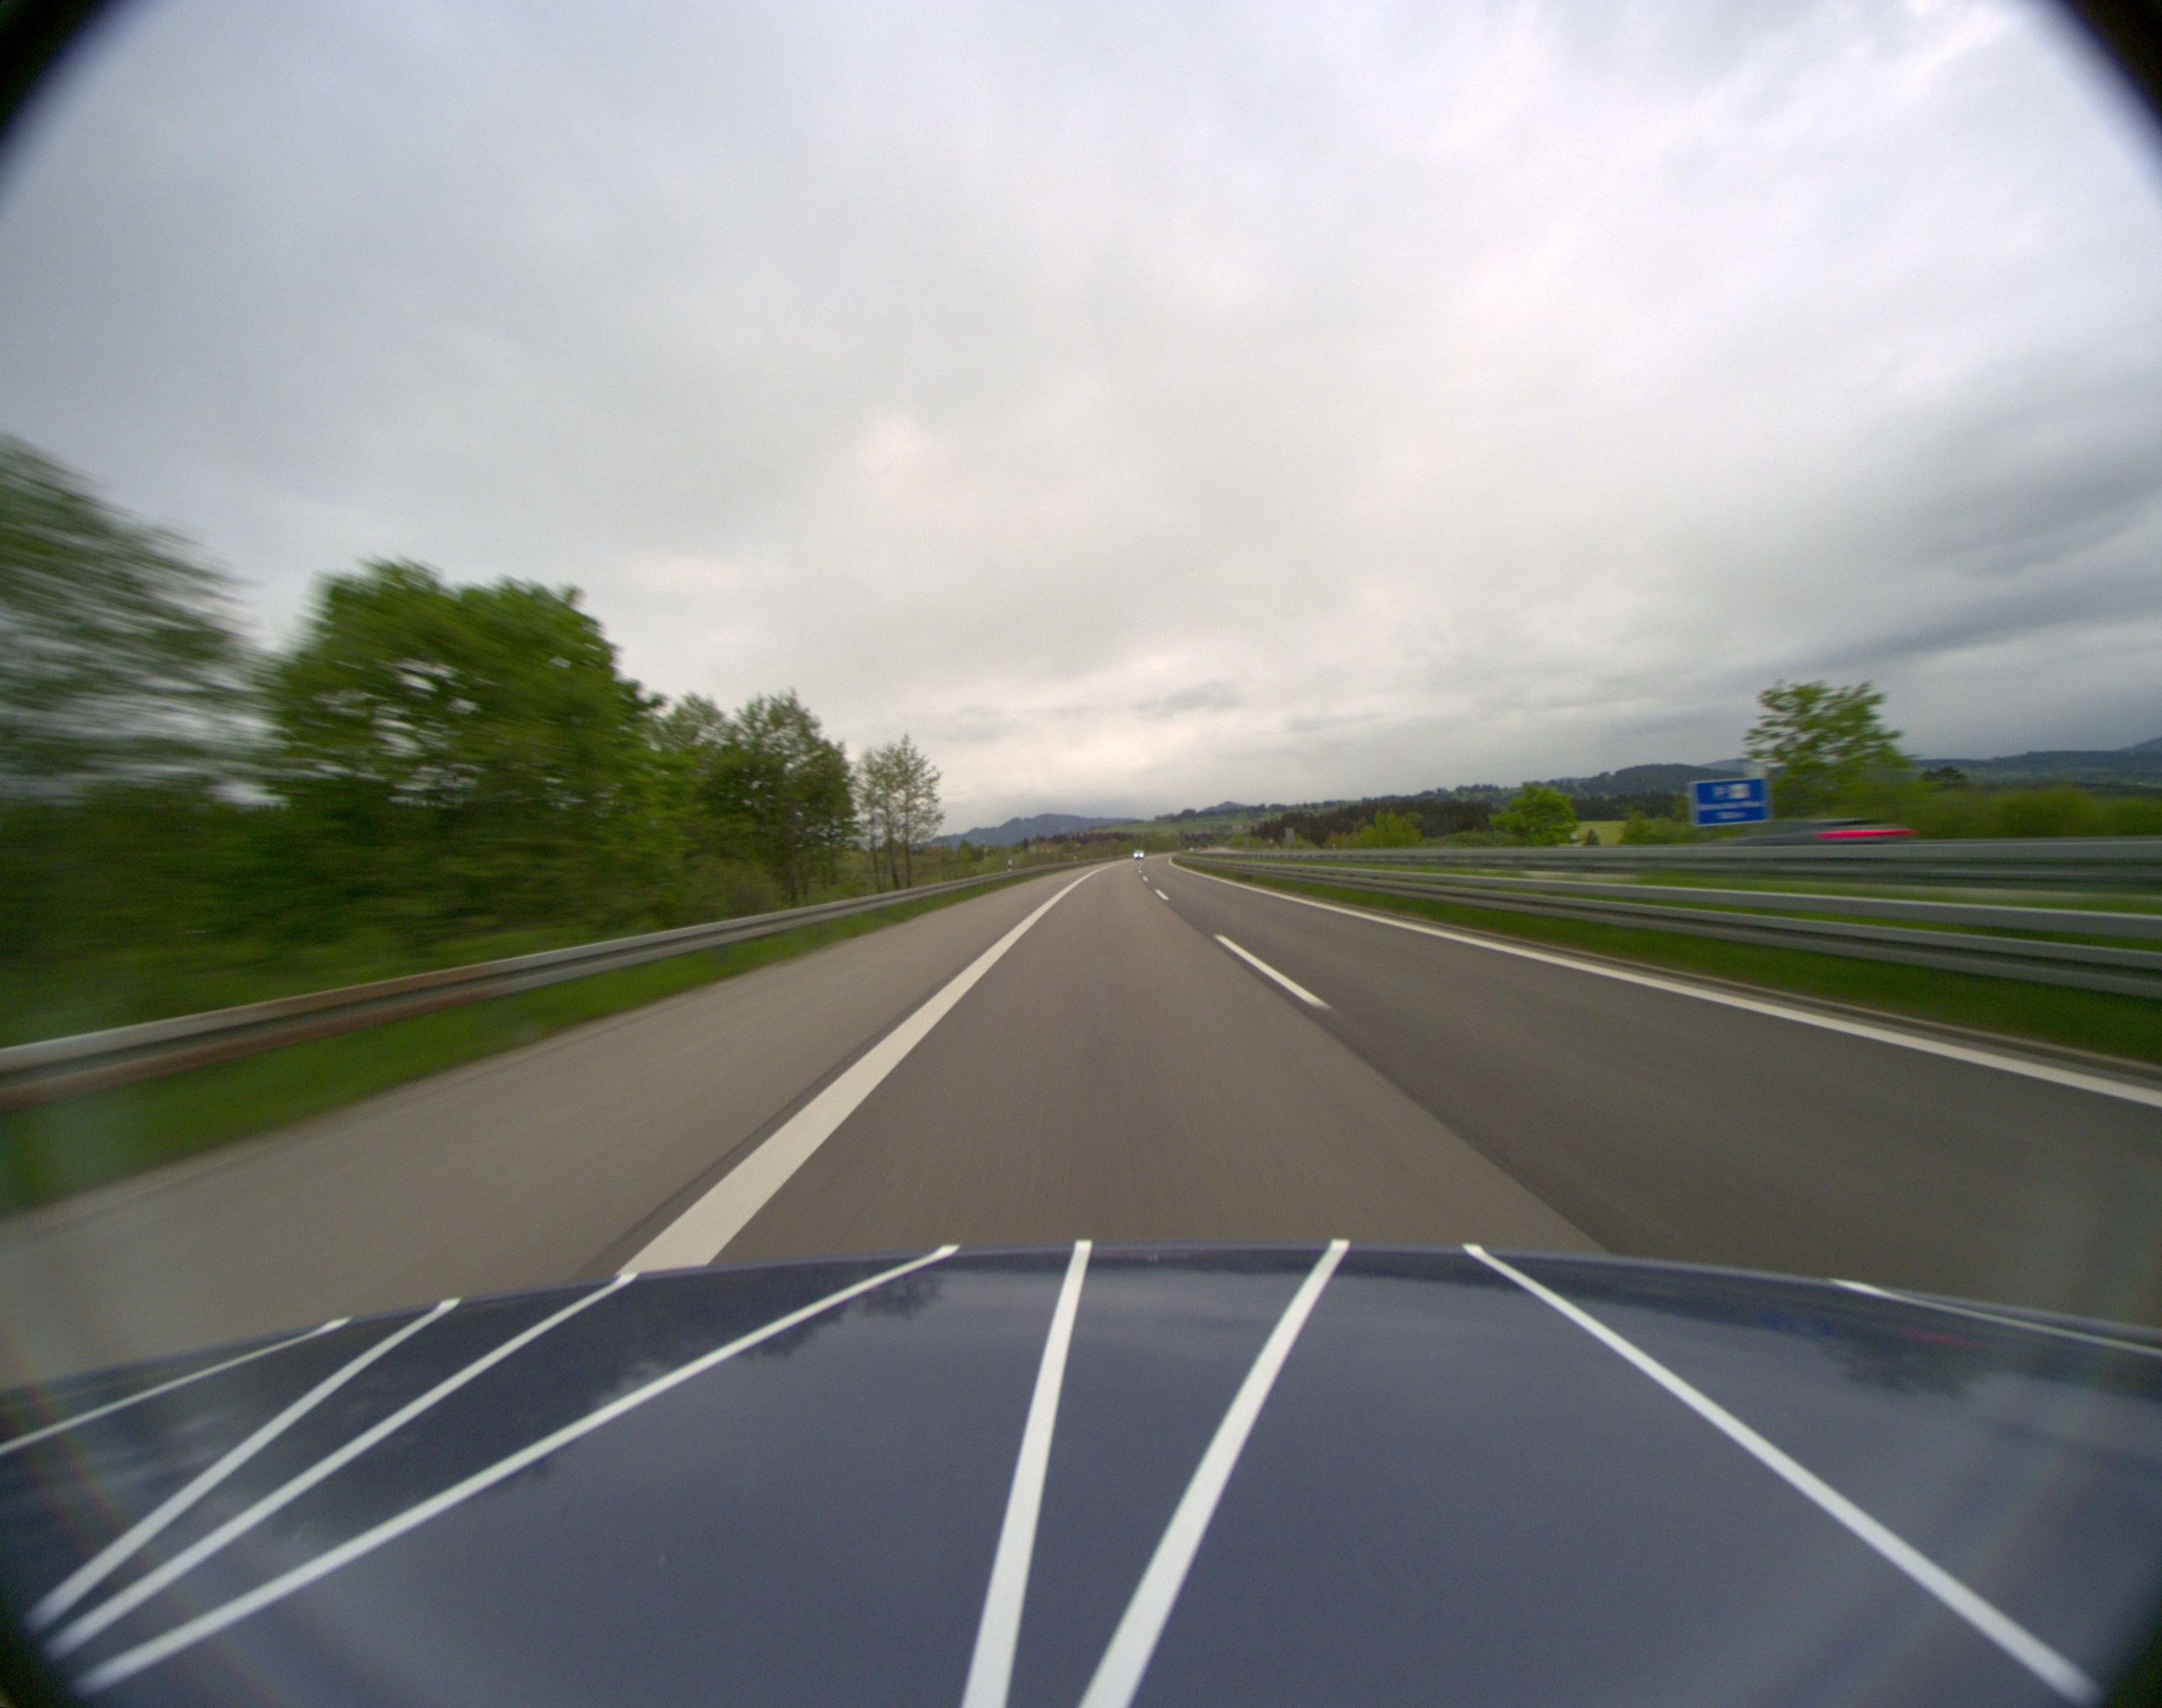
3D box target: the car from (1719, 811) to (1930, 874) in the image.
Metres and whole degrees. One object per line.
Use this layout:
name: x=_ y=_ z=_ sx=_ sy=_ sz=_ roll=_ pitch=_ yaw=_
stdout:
car: x=21.341 y=-0.298 z=22.106 sx=1.998 sy=1.489 sz=4.151 roll=-5 pitch=0 yaw=1

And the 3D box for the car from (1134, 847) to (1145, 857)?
car: x=11.969 y=-0.439 z=156.125 sx=2.020 sy=1.899 sz=4.223 roll=-2 pitch=0 yaw=7
